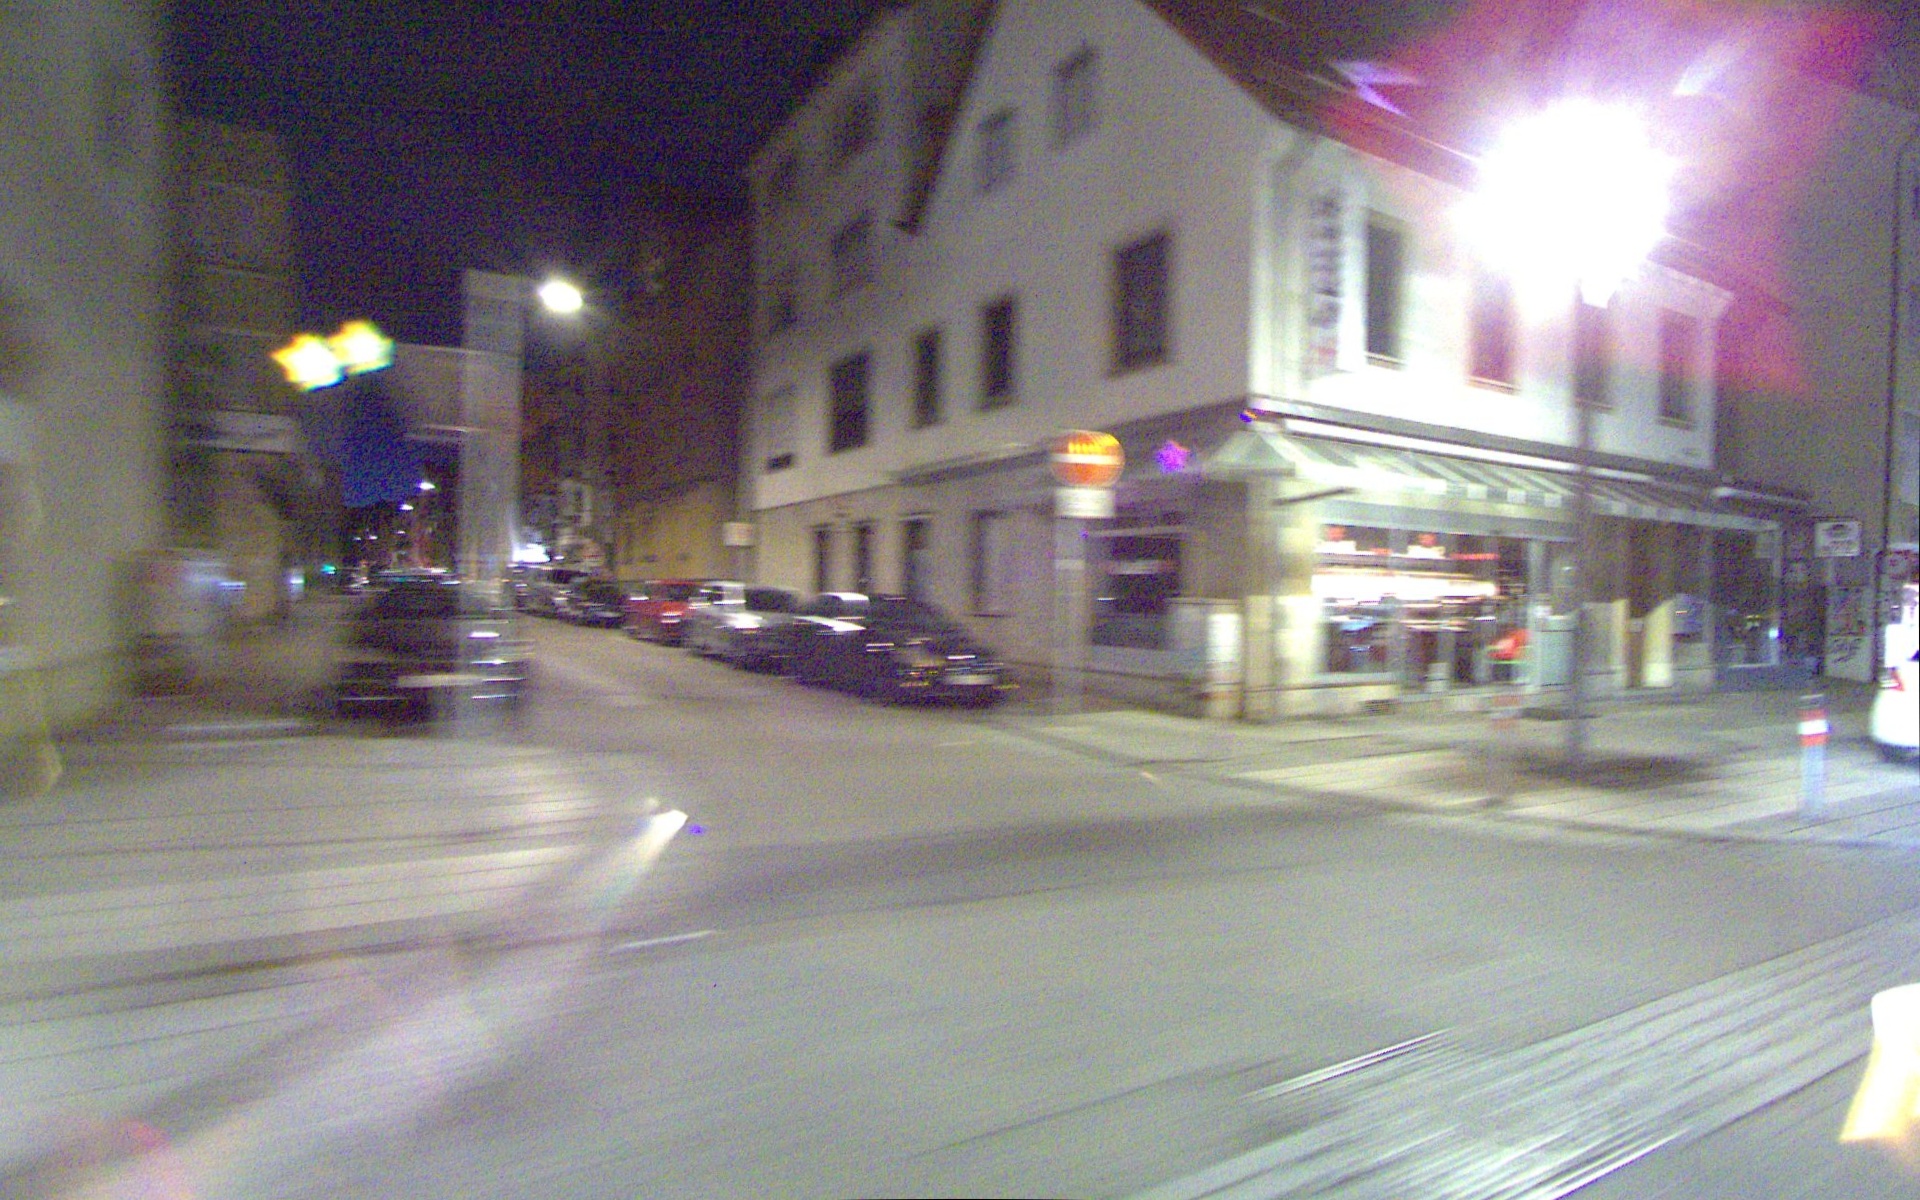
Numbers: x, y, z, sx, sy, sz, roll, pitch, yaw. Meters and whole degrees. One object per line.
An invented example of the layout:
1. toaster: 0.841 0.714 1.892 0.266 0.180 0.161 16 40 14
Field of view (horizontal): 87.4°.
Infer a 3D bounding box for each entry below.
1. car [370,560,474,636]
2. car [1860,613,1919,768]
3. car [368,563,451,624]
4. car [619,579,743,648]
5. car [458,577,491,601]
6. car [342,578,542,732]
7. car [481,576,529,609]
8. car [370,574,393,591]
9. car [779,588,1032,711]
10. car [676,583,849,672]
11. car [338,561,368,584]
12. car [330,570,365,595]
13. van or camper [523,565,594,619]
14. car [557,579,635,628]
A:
1. car: -12.988 -0.082 24.133 1.977 1.670 3.966 -2 1 -31
2. car: 11.148 0.925 10.402 3.804 1.496 1.719 1 1 -32
3. car: -16.498 -0.215 30.014 1.977 1.670 3.966 -2 1 -31
4. car: -6.643 0.277 23.653 1.730 1.410 3.965 3 0 -32
5. car: -28.774 -0.649 59.491 1.374 1.311 3.302 2 0 -32
6. car: -6.318 0.488 12.087 1.759 1.420 4.418 -2 3 -30
7. car: -21.678 -0.372 47.840 1.593 1.410 3.647 2 0 -32
8. car: -58.991 -1.801 102.388 1.977 1.670 3.966 -2 1 -31
9. car: -0.912 0.594 13.943 1.789 1.394 3.965 3 0 -32
10. car: -3.730 0.447 18.409 1.789 1.410 3.965 3 0 -32
11. car: -48.173 -2.170 79.744 1.977 1.670 3.966 -2 1 -31
12. car: -42.668 -1.237 69.998 1.977 1.670 3.966 -2 1 -31
13. van or camper: -15.002 -0.320 37.397 1.593 1.828 4.940 2 0 -32
14. car: -11.658 0.077 32.069 1.593 1.410 3.647 2 0 -32
